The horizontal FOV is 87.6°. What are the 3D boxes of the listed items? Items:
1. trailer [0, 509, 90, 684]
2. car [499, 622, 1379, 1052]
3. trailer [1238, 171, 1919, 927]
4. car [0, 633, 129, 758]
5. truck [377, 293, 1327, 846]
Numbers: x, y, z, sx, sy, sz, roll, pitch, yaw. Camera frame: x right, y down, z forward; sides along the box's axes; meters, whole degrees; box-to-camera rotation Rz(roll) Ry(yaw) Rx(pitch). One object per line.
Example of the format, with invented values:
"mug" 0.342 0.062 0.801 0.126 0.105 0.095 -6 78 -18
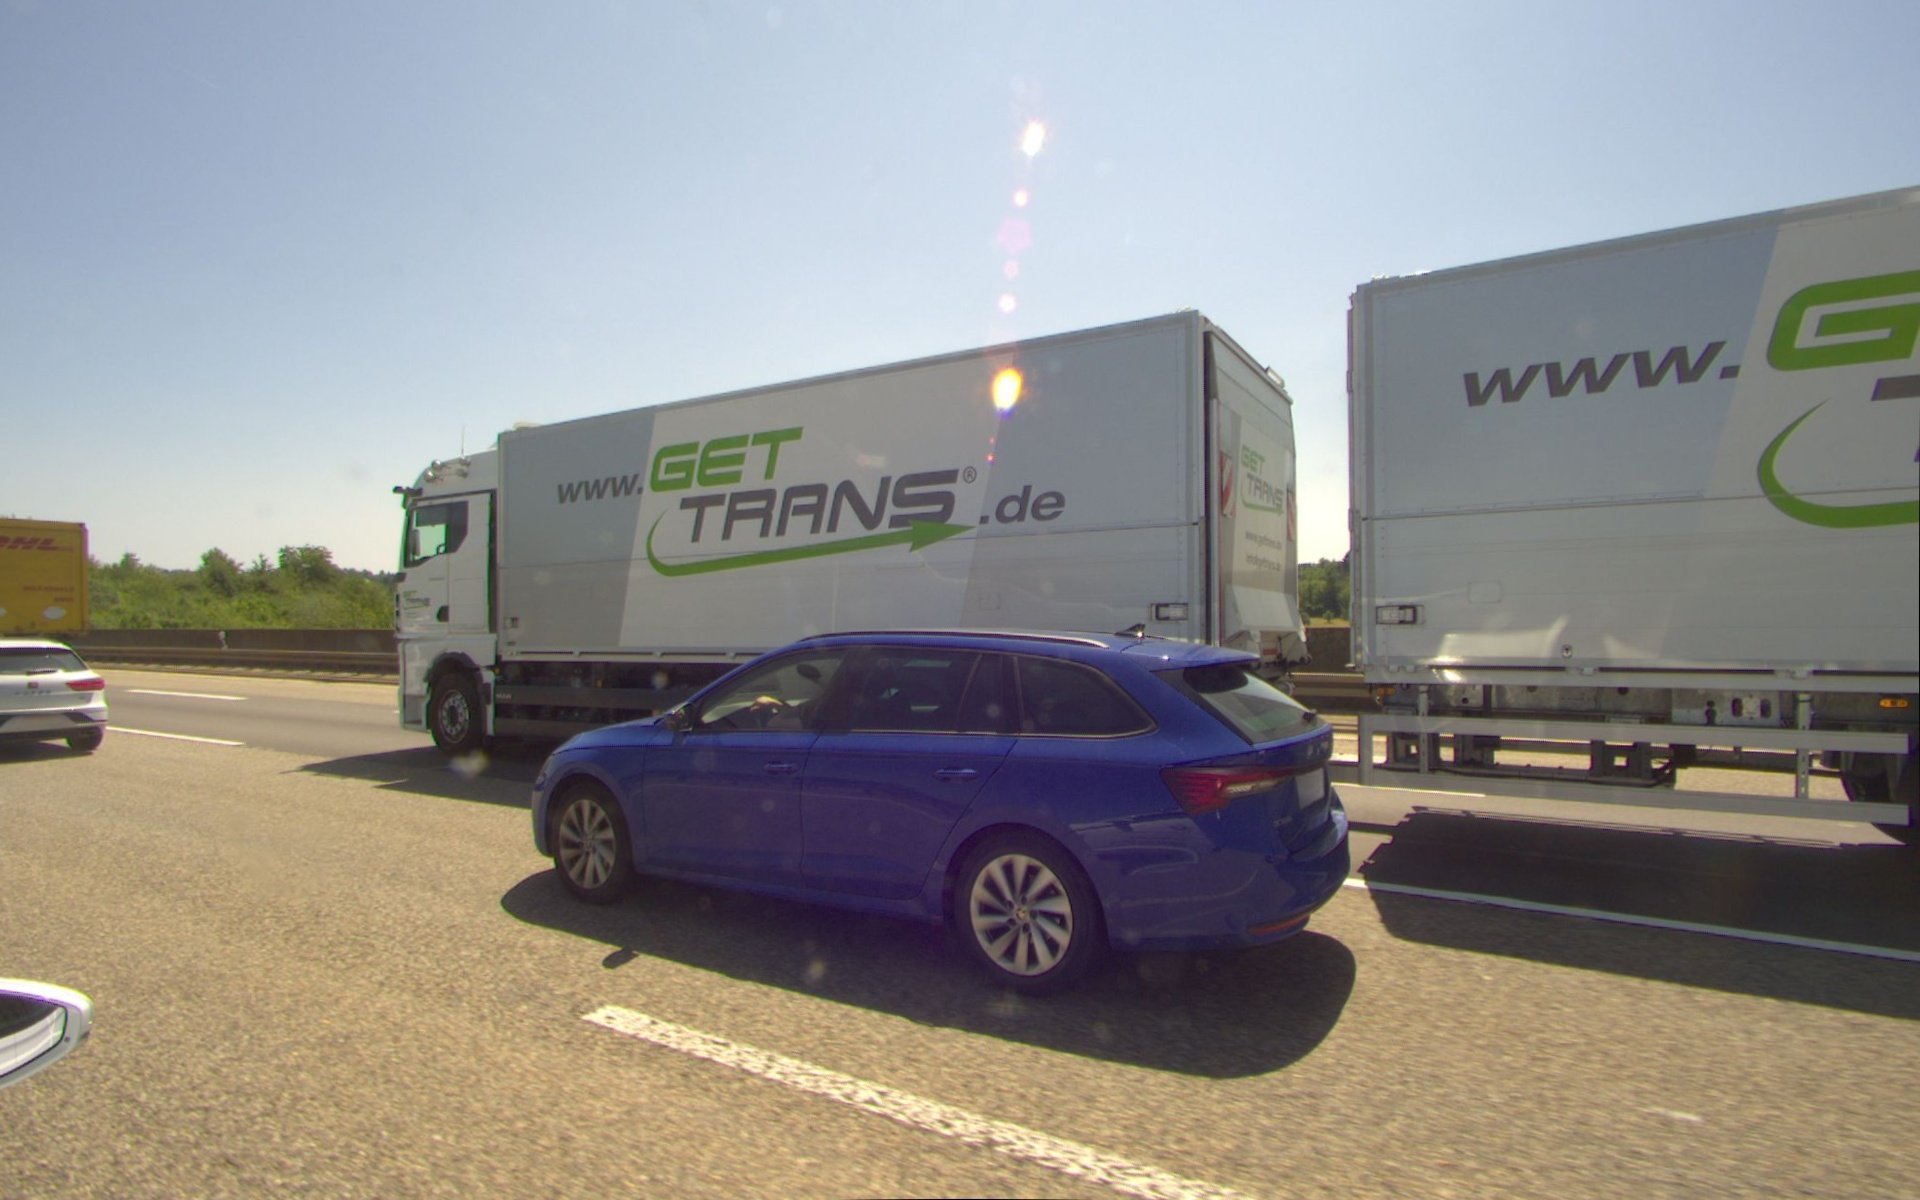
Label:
"trailer" -25.852 0.038 25.860 8.804 4.074 2.697 -2 -2 33
"car" -0.291 0.860 5.285 4.434 1.459 1.707 -1 -1 31
"trailer" 6.020 -0.222 5.610 8.173 3.640 2.840 -1 -2 32
"car" -12.477 1.133 12.736 4.128 1.405 1.778 -1 -1 32
"truck" -1.926 -0.038 10.667 10.616 3.648 2.846 -2 -2 32
